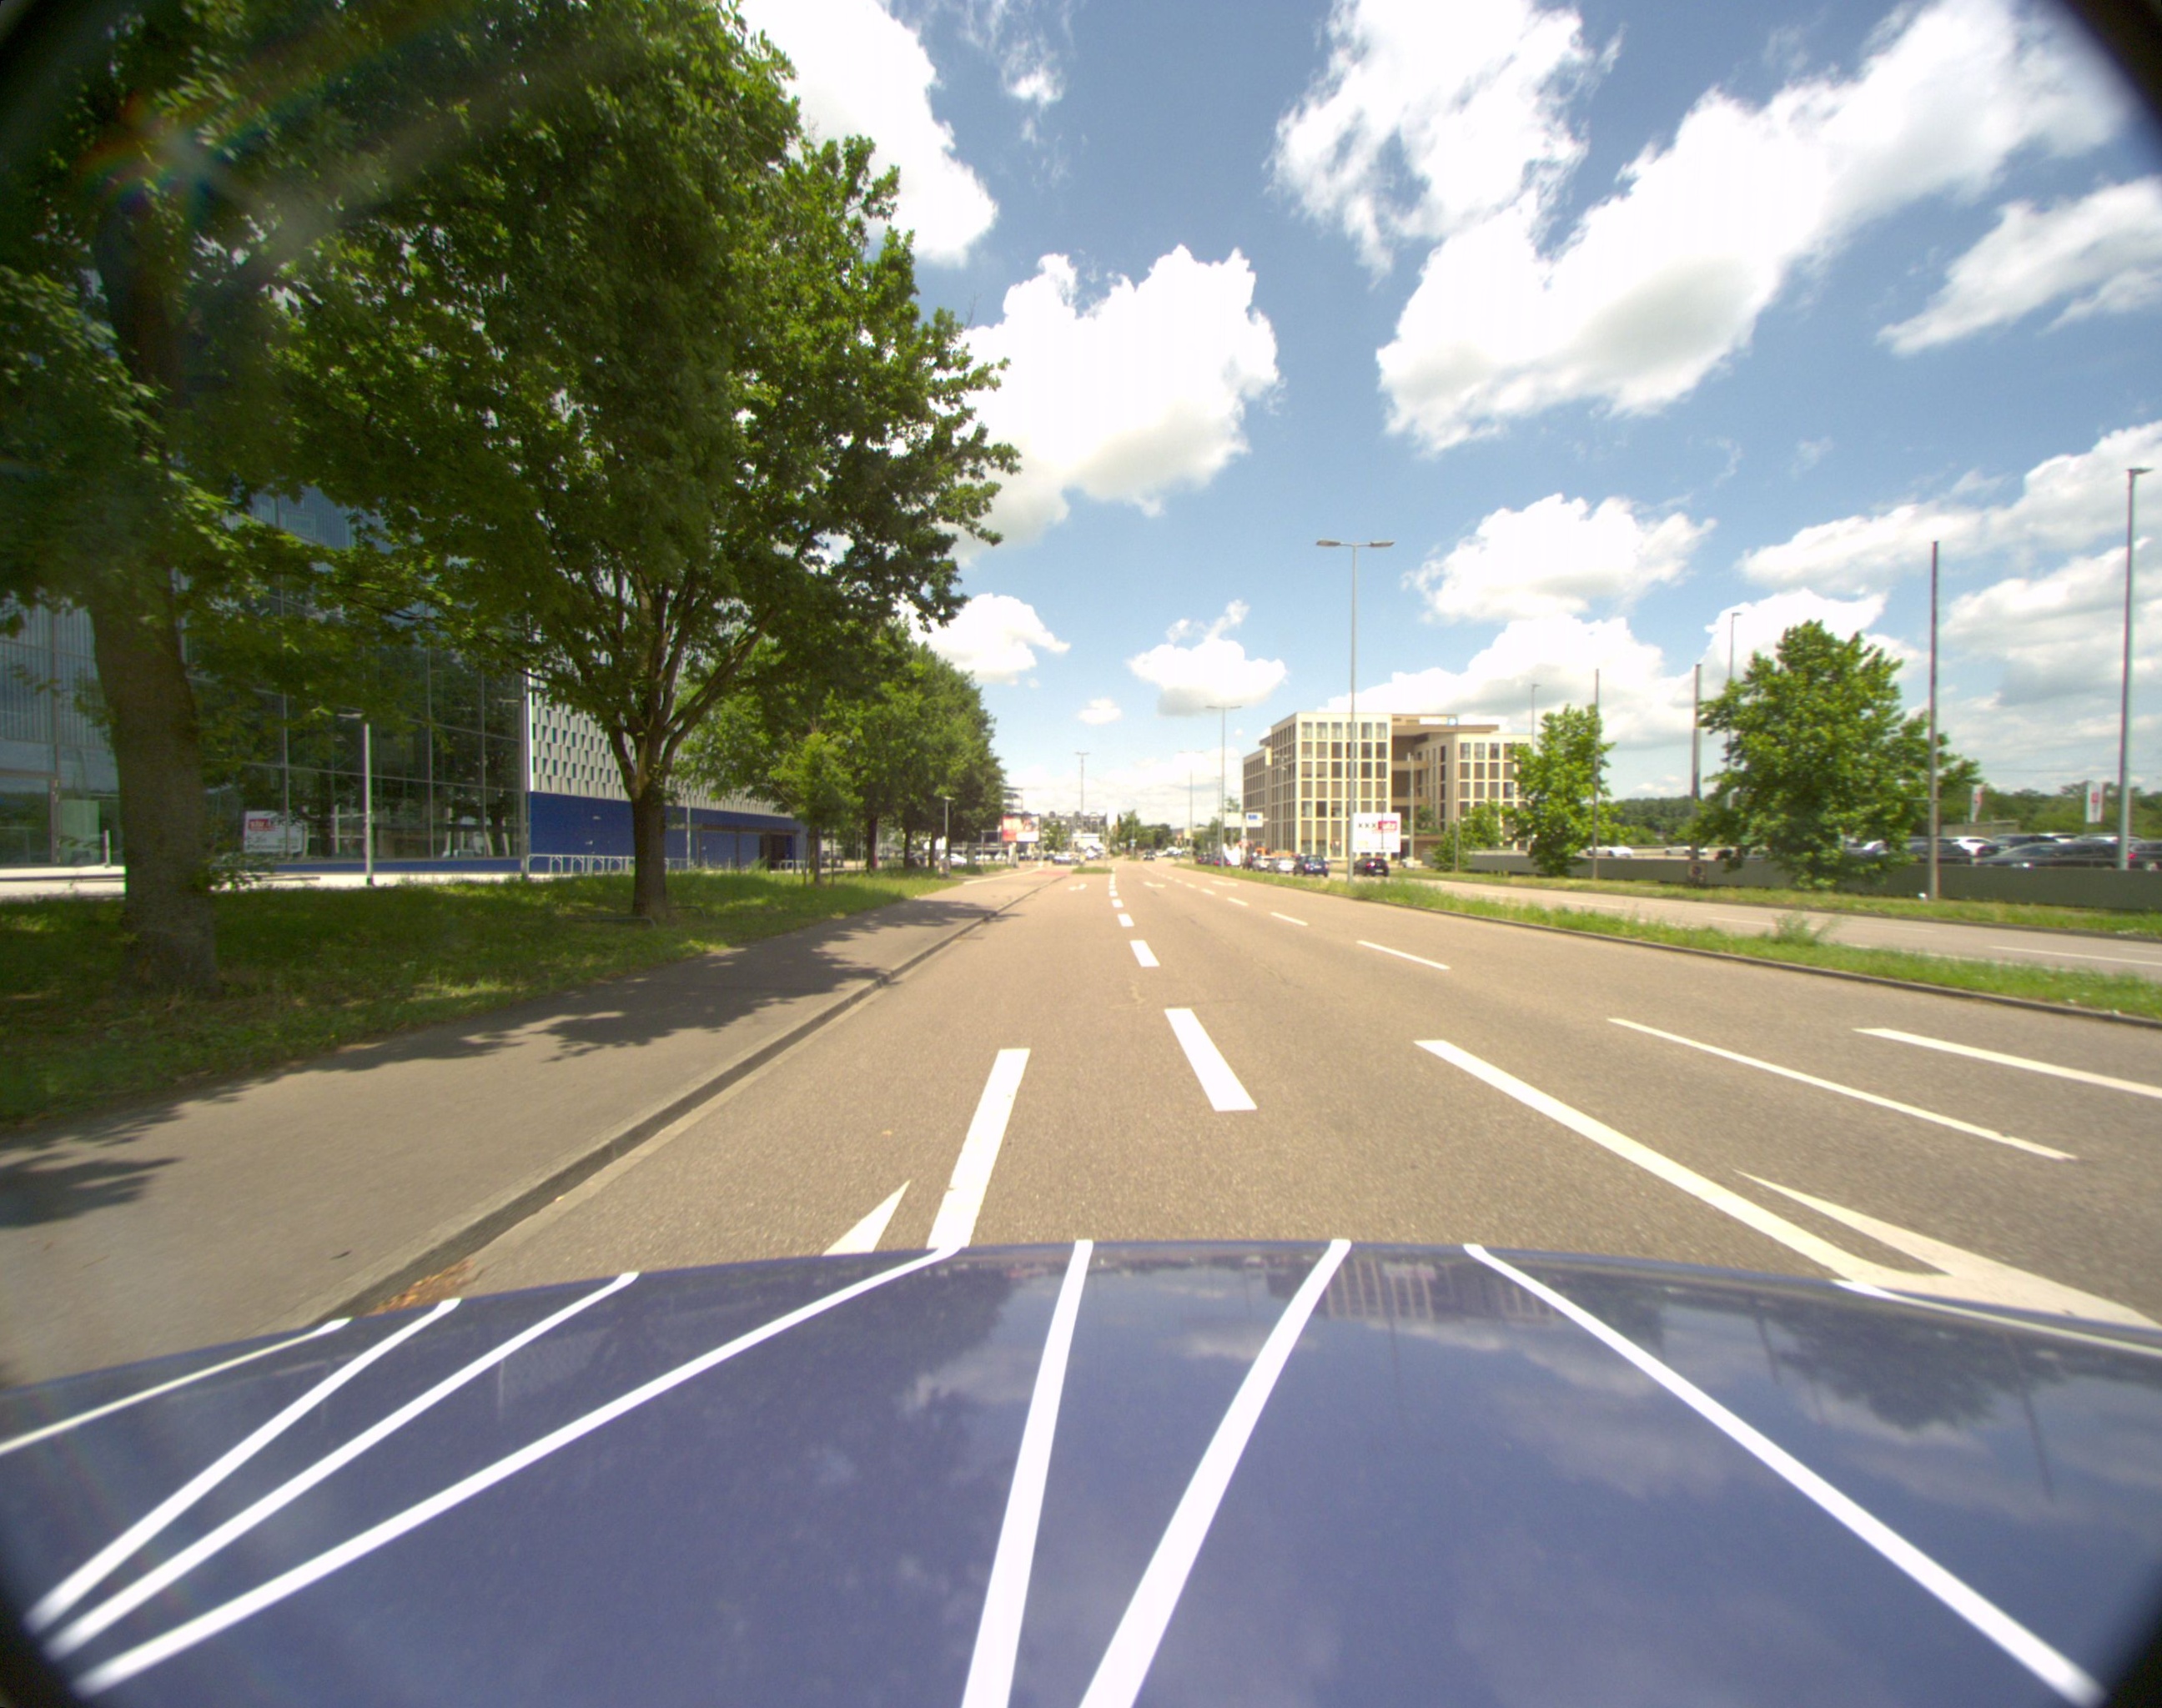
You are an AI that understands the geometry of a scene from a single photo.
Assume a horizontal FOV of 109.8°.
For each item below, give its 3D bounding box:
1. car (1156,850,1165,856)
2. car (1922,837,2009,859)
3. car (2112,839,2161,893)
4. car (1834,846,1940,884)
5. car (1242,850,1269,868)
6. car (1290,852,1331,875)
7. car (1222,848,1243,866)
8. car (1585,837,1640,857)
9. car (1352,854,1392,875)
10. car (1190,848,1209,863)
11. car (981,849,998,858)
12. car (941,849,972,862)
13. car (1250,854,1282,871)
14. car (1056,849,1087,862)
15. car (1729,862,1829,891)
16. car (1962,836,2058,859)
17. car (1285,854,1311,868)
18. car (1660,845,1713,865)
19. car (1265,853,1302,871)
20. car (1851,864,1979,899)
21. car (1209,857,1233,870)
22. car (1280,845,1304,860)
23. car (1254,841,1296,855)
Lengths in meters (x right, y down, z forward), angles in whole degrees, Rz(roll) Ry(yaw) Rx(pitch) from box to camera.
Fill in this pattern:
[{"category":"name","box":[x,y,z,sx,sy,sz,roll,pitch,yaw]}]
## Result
[{"category":"car","box":[22.136,-0.257,210.952,2.289,1.708,4.483,1,1,4]},{"category":"car","box":[62.033,-0.414,53.355,3.829,1.461,1.856,1,0,3]},{"category":"car","box":[48.194,0.525,32.906,4.360,2.315,2.000,0,1,-1]},{"category":"car","box":[50.838,0.660,47.993,4.357,2.315,2.001,0,1,5]},{"category":"car","box":[16.974,0.496,74.111,1.796,1.691,4.228,1,0,2]},{"category":"car","box":[15.580,0.634,51.681,1.743,1.466,3.676,1,1,1]},{"category":"car","box":[17.554,0.345,87.987,1.861,2.031,3.577,1,0,4]},{"category":"car","box":[50.142,-0.627,71.766,1.855,1.822,4.674,1,0,0]},{"category":"car","box":[21.337,0.735,55.827,1.622,1.461,4.118,1,0,5]},{"category":"car","box":[13.695,0.182,88.168,1.795,1.635,4.172,1,0,4]},{"category":"car","box":[-15.267,-0.087,127.442,1.840,1.565,4.002,1,0,7]},{"category":"car","box":[-16.665,0.219,101.825,3.999,1.681,1.857,1,0,-5]},{"category":"car","box":[16.374,0.779,67.472,1.796,1.393,4.846,2,0,2]},{"category":"car","box":[-1.257,0.224,100.938,3.998,1.681,1.858,1,0,-3]},{"category":"car","box":[40.592,1.292,44.255,3.996,1.586,1.850,1,0,3]},{"category":"car","box":[61.630,-0.436,50.445,3.828,1.461,1.857,1,0,5]},{"category":"car","box":[22.450,0.677,78.666,1.623,1.383,4.585,1,0,4]},{"category":"car","box":[57.662,0.090,72.417,1.855,1.822,3.832,1,0,-3]},{"category":"car","box":[16.136,0.622,60.716,1.796,1.409,4.675,1,0,2]},{"category":"car","box":[40.210,1.285,36.721,3.996,1.586,1.846,1,0,3]},{"category":"car","box":[13.948,0.915,76.074,1.796,1.243,4.308,1,0,2]},{"category":"car","box":[23.449,-0.137,84.608,1.796,1.691,3.871,1,0,2]},{"category":"car","box":[32.558,-0.999,127.566,6.520,2.314,2.859,0,-2,20]}]
